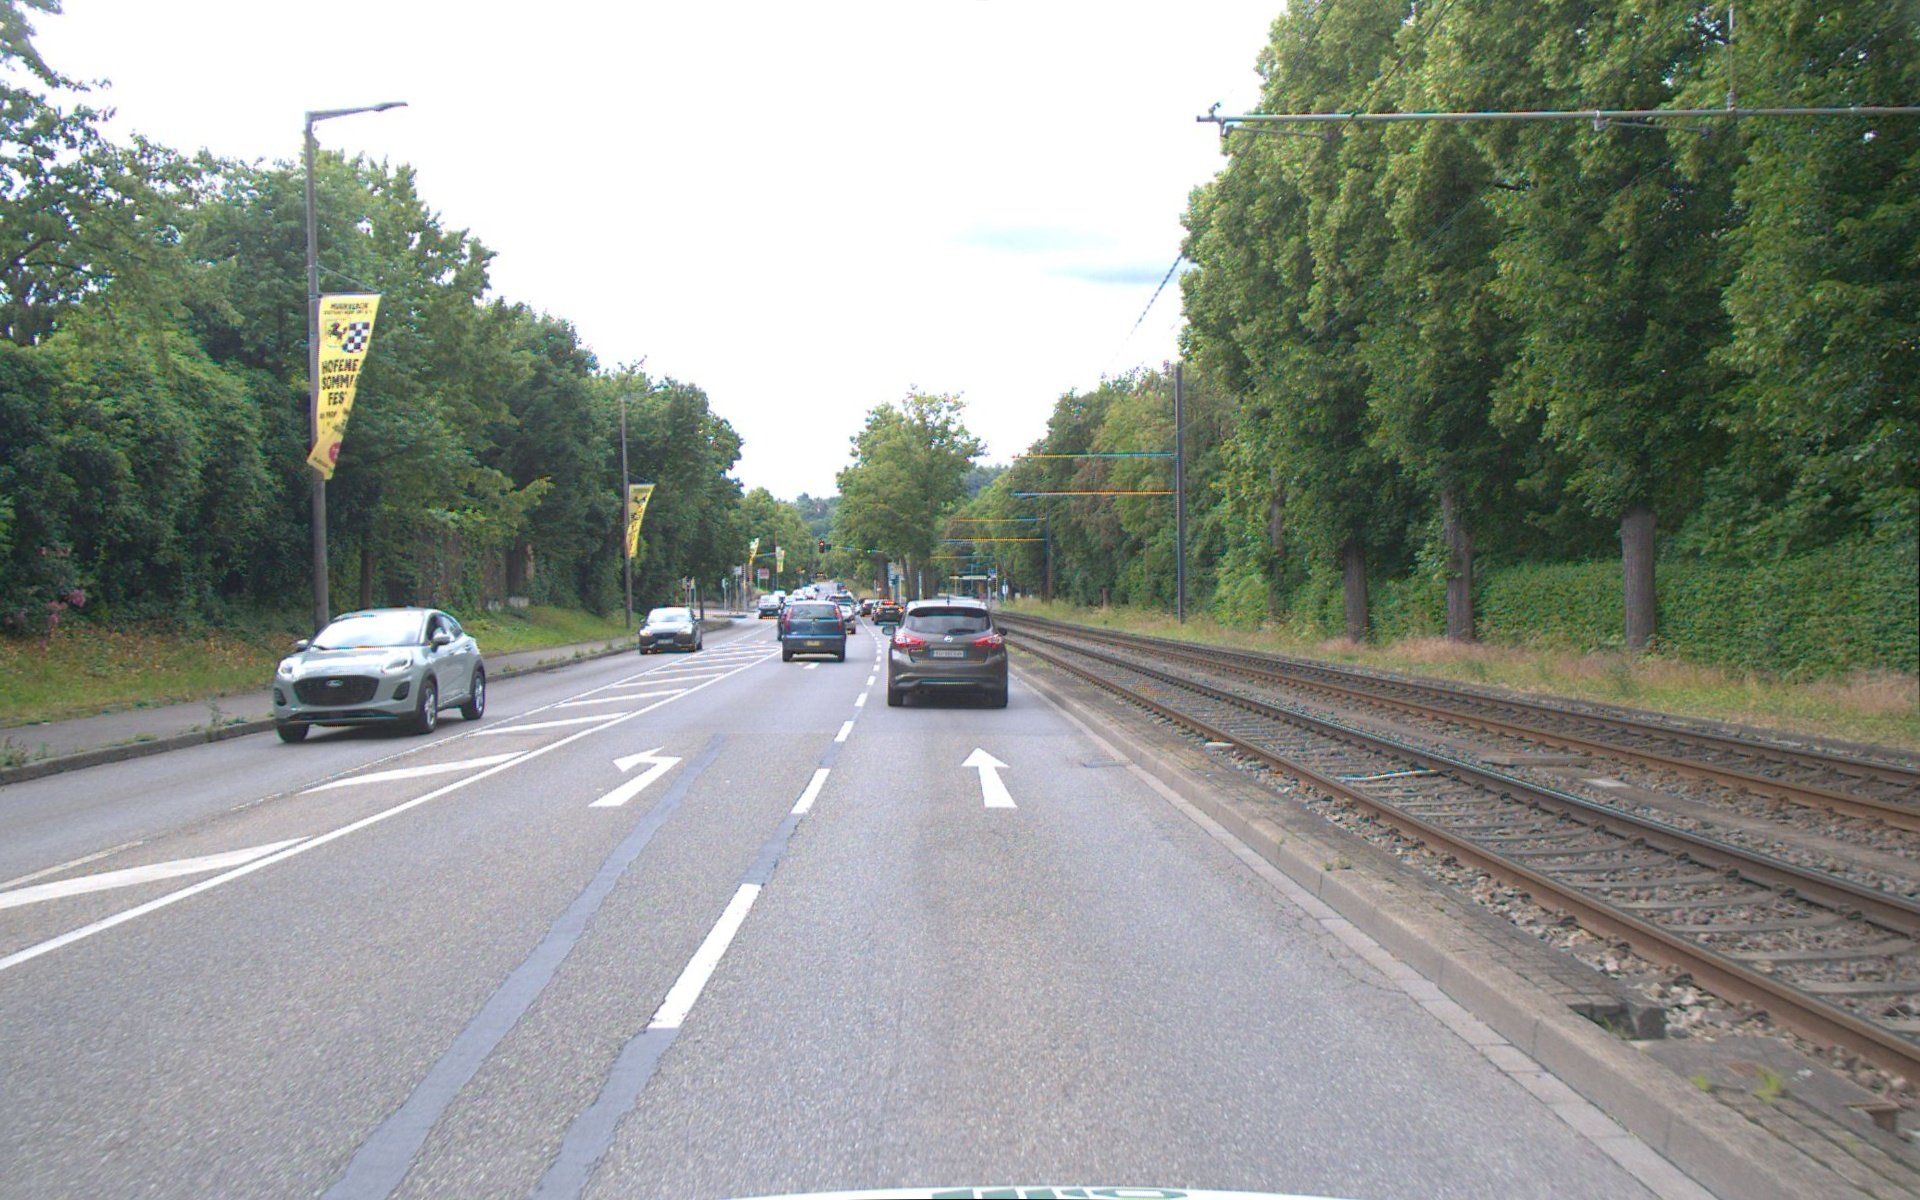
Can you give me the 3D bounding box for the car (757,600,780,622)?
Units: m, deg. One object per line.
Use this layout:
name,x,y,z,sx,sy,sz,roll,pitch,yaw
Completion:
car,-15.826,0.937,136.662,1.681,1.791,3.997,0,0,-3

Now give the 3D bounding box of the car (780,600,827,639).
car,-6.061,0.763,64.411,1.681,1.461,3.997,0,0,-3

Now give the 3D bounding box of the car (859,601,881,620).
car,-7.586,0.901,139.946,1.680,1.577,3.999,0,0,-1

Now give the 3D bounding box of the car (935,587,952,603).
car,-1.833,-0.568,184.114,1.681,1.692,3.705,0,0,-3

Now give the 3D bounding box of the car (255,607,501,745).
car,-7.303,0.884,21.198,1.790,1.482,4.140,-3,0,-3

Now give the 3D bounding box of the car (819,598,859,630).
car,-5.670,0.670,77.954,1.680,1.461,3.999,0,0,-1

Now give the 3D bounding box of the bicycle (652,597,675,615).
bicycle,-19.589,0.386,109.157,0.489,1.127,1.797,0,0,29

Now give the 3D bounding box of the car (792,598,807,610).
car,-21.134,0.490,218.346,1.680,1.577,3.999,0,0,-1

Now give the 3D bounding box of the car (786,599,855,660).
car,-3.524,0.726,42.237,1.666,1.469,3.997,0,0,-4

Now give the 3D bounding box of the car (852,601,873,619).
car,-8.880,0.926,150.709,1.680,1.577,3.999,0,0,-1

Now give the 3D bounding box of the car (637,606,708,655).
car,-9.221,0.951,53.283,1.805,1.399,4.443,-3,0,-5

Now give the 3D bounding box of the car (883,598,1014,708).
car,-0.176,0.739,24.959,1.813,1.519,3.999,0,0,-1

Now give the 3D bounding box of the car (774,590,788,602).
car,-25.111,-0.560,232.127,1.680,1.577,3.999,0,0,-1

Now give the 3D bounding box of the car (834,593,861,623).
car,-7.291,0.515,107.423,1.681,1.896,3.997,0,0,-4

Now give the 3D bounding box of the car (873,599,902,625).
car,-4.466,0.752,102.459,1.680,1.577,3.999,0,0,-1

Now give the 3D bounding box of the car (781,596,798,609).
car,-20.441,0.286,198.240,1.680,1.577,3.999,0,0,-1
